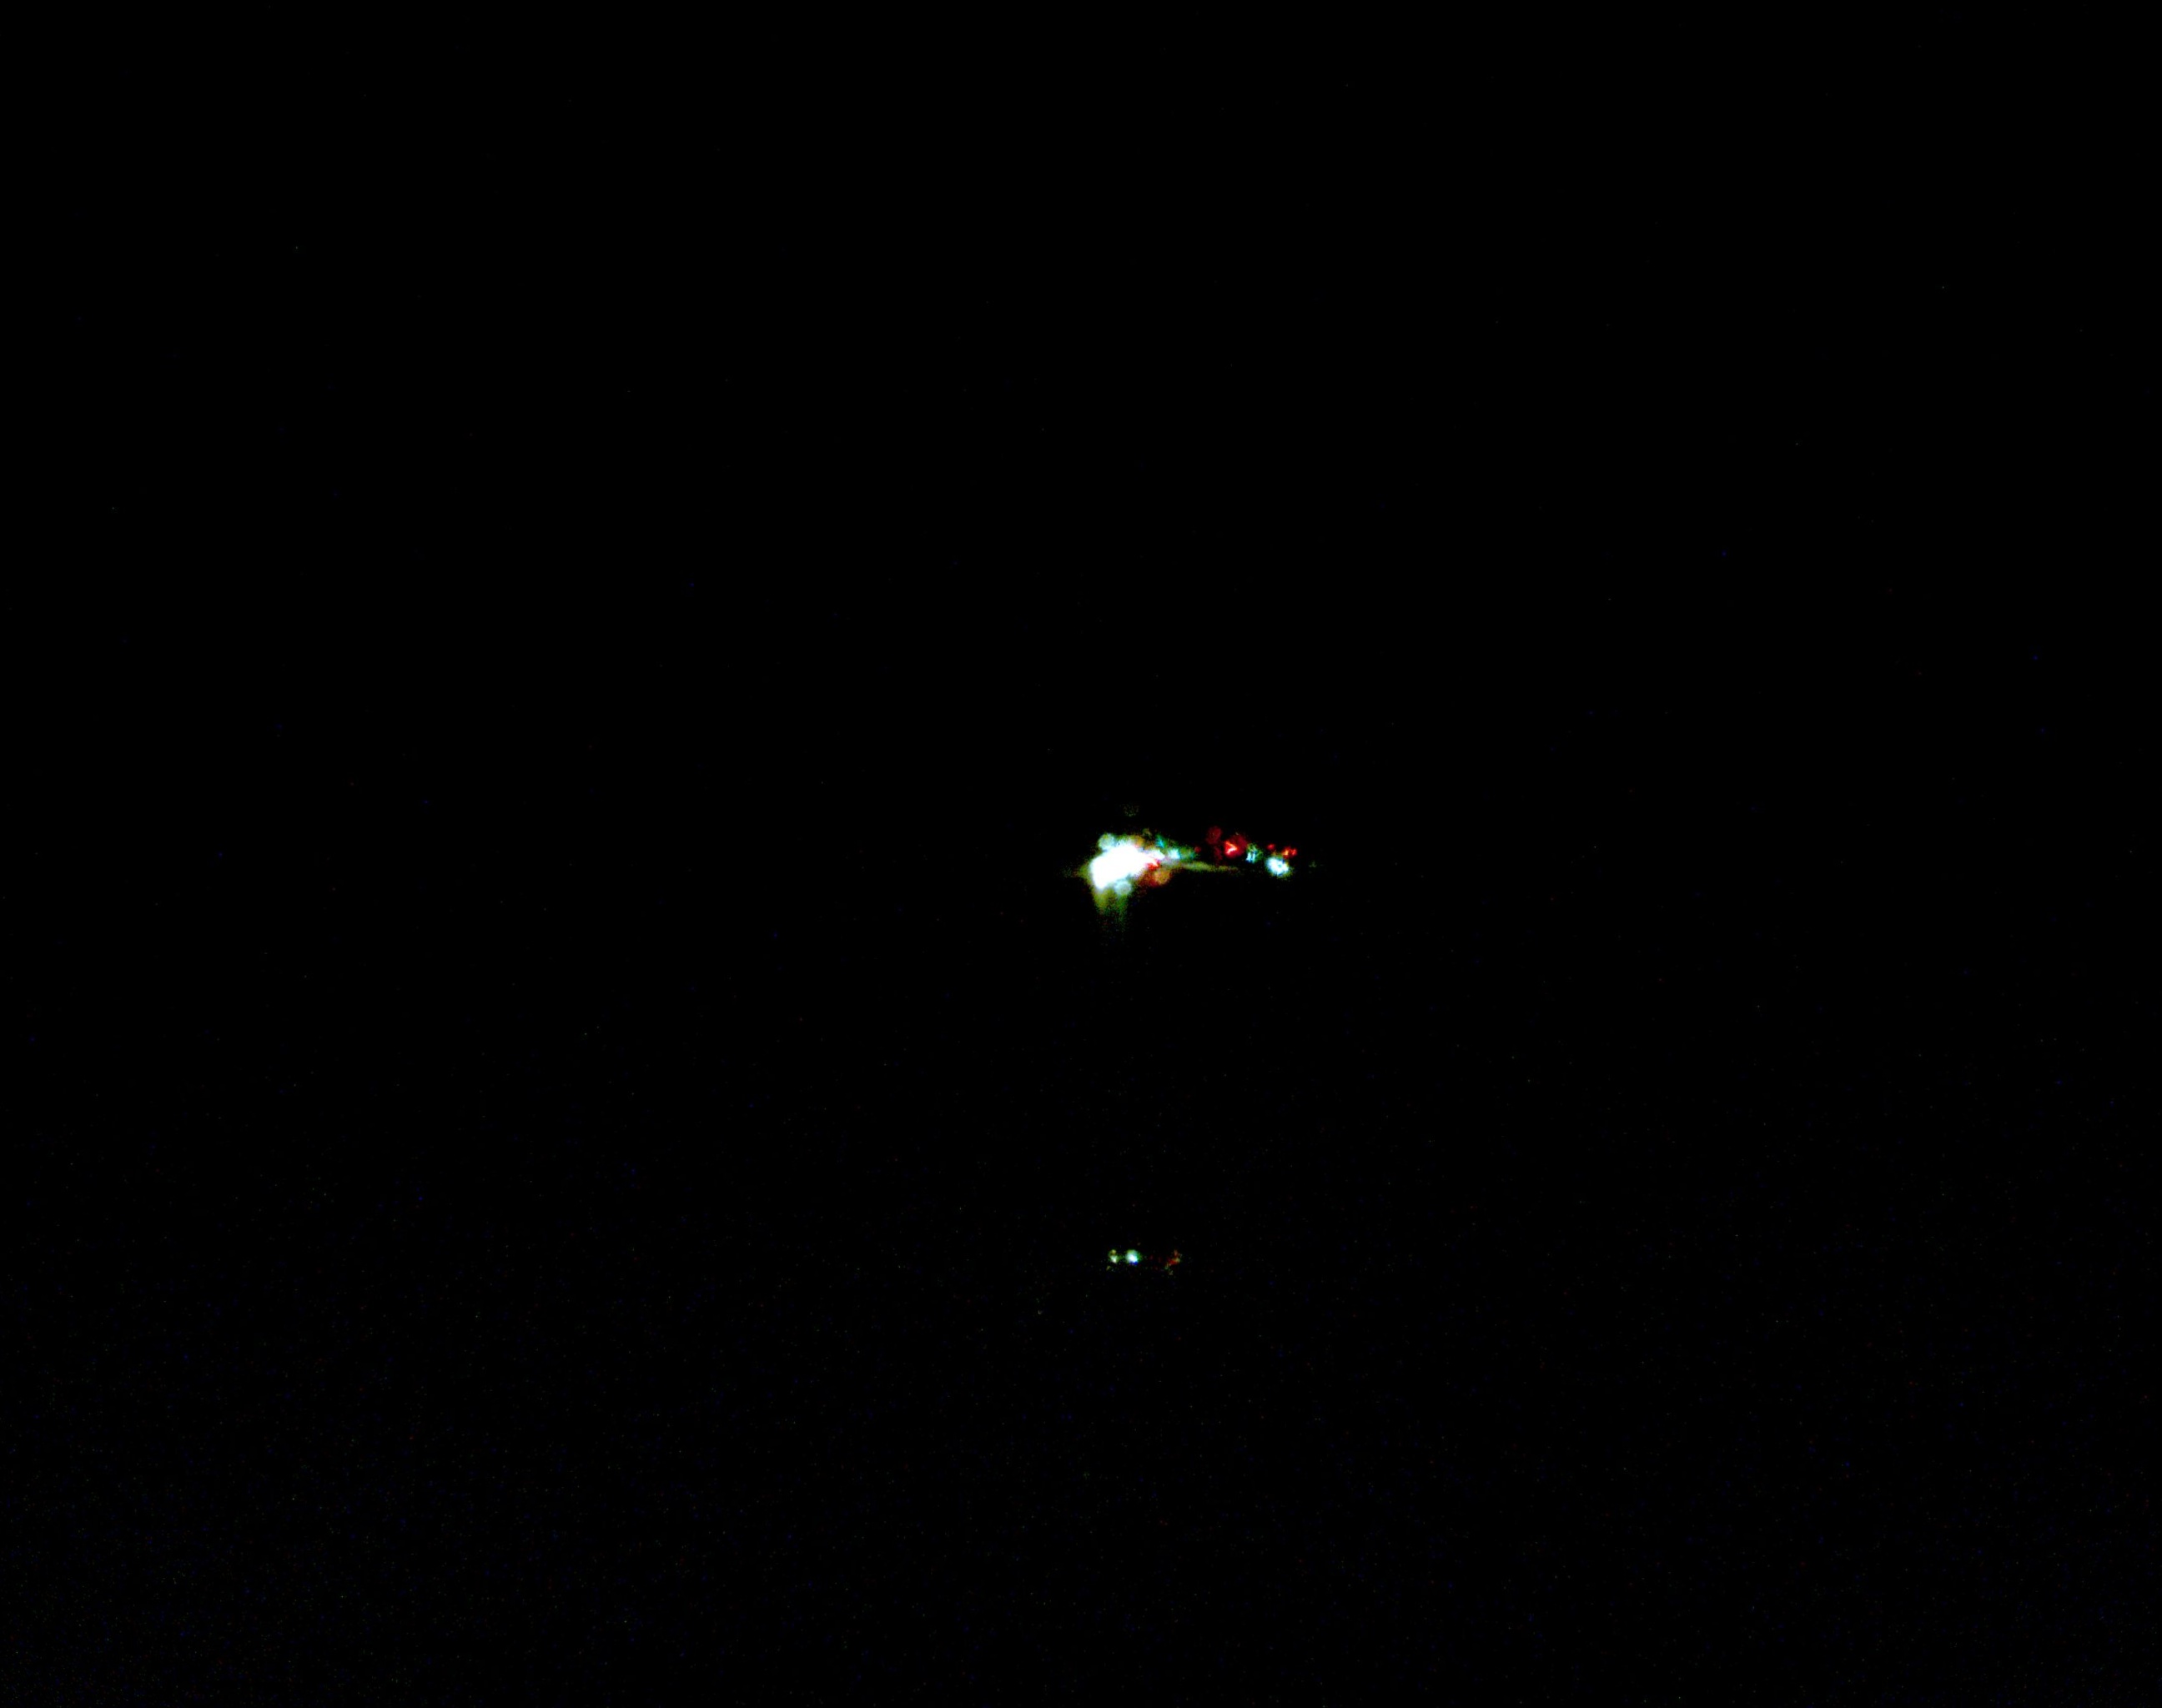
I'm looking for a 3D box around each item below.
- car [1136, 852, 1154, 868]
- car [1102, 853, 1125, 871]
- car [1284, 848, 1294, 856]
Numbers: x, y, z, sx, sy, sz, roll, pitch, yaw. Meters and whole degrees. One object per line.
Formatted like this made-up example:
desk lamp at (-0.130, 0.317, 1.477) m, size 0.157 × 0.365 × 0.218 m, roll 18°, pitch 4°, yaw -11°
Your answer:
car at (7.266, 0.708, 86.523) m, size 1.931 × 1.693 × 4.001 m, roll -2°, pitch 0°, yaw 3°
car at (3.336, 0.772, 76.963) m, size 1.877 × 1.578 × 4.891 m, roll -2°, pitch 0°, yaw 8°
car at (56.700, -0.536, 207.424) m, size 1.997 × 2.294 × 6.026 m, roll -2°, pitch 0°, yaw 9°
